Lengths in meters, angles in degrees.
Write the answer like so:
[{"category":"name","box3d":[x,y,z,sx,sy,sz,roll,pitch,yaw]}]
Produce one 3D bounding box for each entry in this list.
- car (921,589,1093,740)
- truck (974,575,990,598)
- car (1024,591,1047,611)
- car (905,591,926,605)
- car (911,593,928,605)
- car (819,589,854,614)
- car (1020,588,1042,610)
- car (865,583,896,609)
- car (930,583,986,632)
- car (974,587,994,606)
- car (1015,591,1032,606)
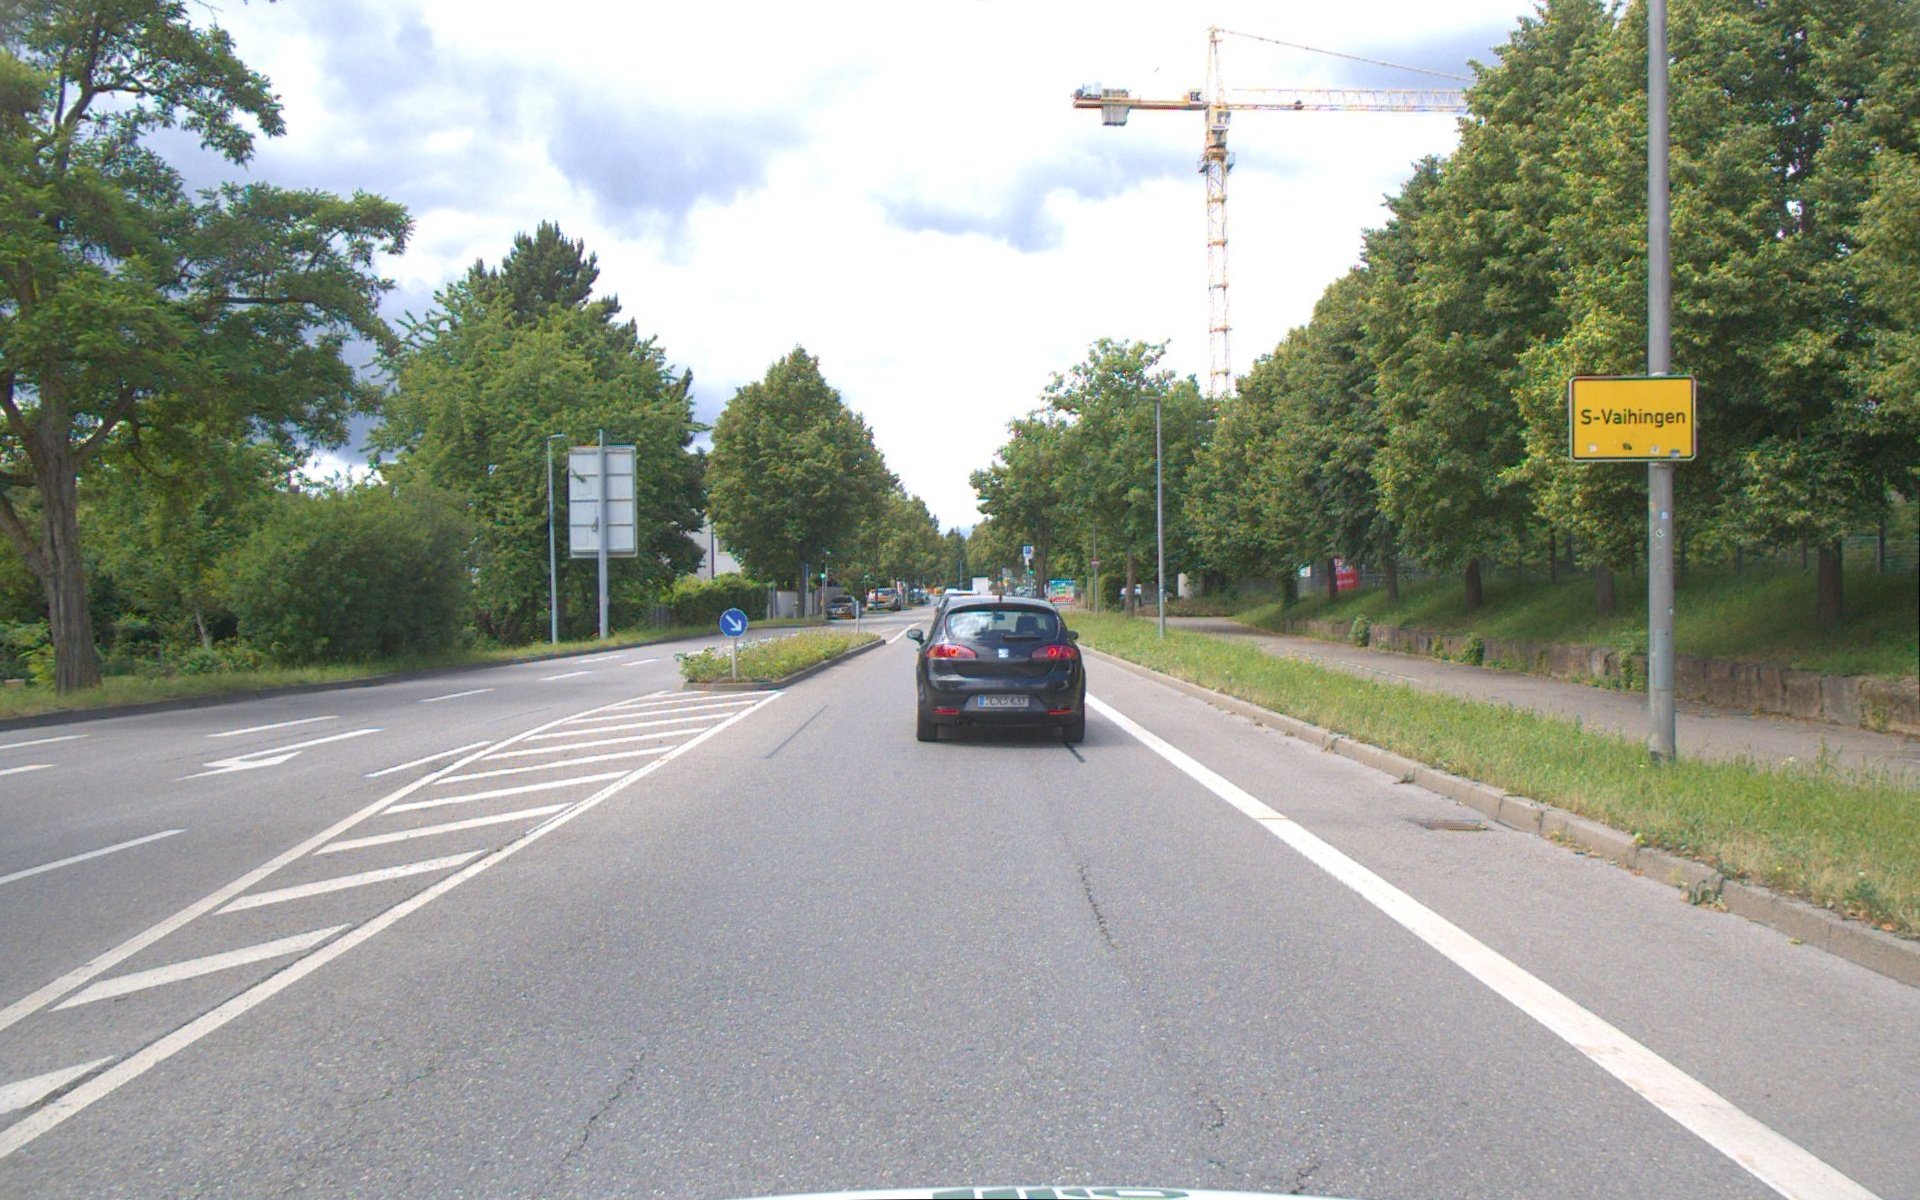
[{"category":"car","box3d":[0.447,0.618,17.702,1.629,1.426,3.811,1,0,0]},{"category":"truck","box3d":[3.098,-1.856,235.968,2.232,3.158,8.511,1,0,0]},{"category":"car","box3d":[5.780,0.052,126.698,1.653,1.516,3.355,-1,0,1]},{"category":"car","box3d":[-5.127,-0.230,189.606,2.057,1.532,5.785,-3,0,1]},{"category":"car","box3d":[-5.456,-0.133,222.443,2.057,1.532,5.785,-3,0,1]},{"category":"car","box3d":[-7.670,0.077,103.115,1.683,1.419,4.802,-3,0,1]},{"category":"car","box3d":[5.629,-0.088,131.816,1.653,1.741,4.214,-1,0,1]},{"category":"car","box3d":[-6.325,-0.311,132.237,2.057,1.929,5.785,-3,0,1]},{"category":"car","box3d":[-0.043,0.242,55.265,1.808,1.536,3.812,1,0,1]},{"category":"car","box3d":[2.351,-0.349,159.960,1.842,1.718,4.214,-1,0,1]},{"category":"car","box3d":[6.691,-0.158,175.076,1.653,1.591,4.214,-1,0,1]}]
